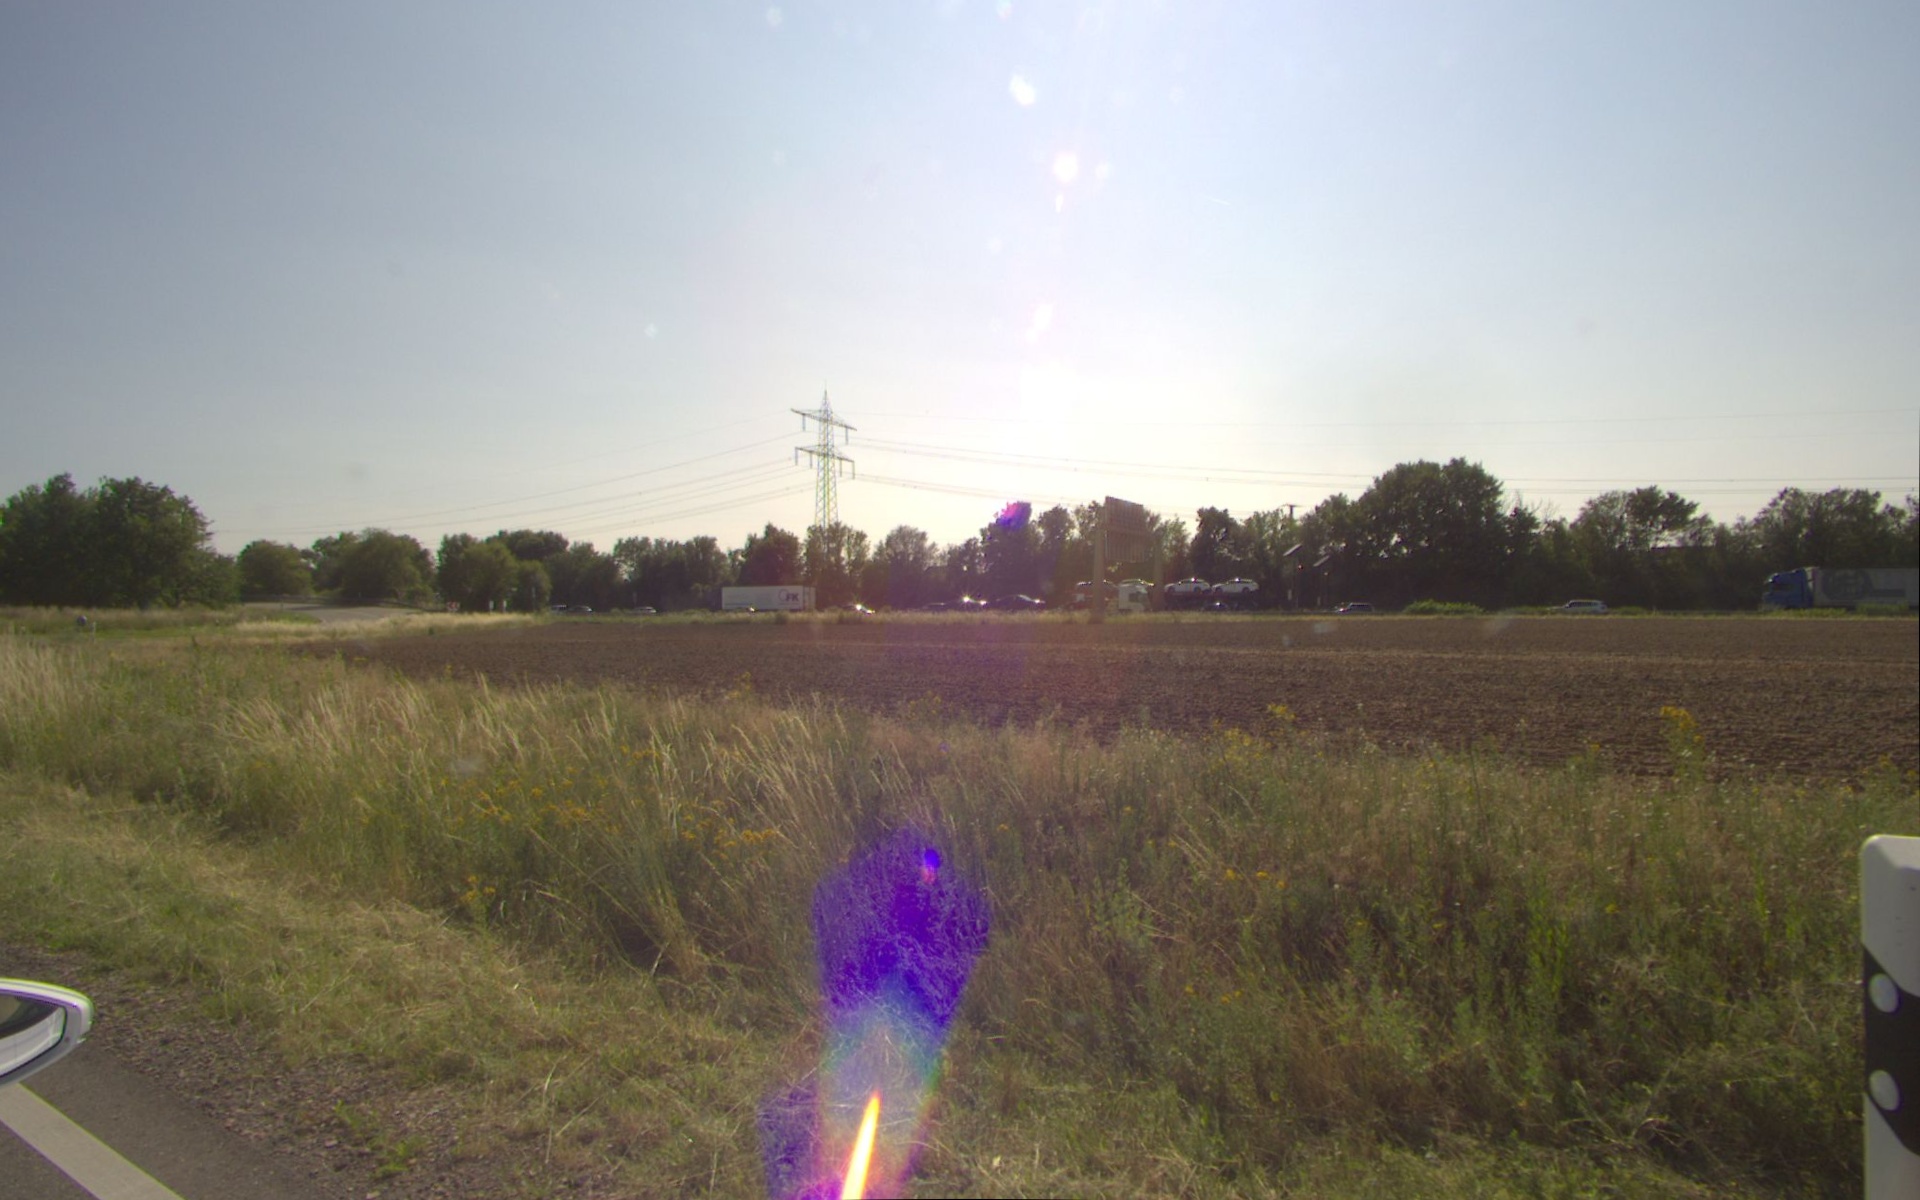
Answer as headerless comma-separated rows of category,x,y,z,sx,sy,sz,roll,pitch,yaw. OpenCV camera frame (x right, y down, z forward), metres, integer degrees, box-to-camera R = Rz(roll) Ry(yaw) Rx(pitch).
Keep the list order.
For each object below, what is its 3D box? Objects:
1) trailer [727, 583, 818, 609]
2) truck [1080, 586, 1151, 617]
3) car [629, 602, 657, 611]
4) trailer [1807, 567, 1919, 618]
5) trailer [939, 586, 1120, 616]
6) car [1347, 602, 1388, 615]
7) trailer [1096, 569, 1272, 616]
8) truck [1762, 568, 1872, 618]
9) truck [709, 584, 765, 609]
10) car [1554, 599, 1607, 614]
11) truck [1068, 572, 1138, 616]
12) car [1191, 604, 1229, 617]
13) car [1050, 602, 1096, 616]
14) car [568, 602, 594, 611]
trailer,-24.273,-0.488,129.179,12.266,3.311,3.280,0,1,29
truck,13.314,0.091,85.721,5.450,2.565,2.509,0,1,29
car,-41.057,0.810,129.744,3.525,1.166,1.394,0,-1,28
trailer,71.964,-0.547,74.386,13.431,3.783,3.066,0,0,32
trailer,5.953,0.088,89.843,16.823,2.565,2.509,0,1,29
car,35.611,0.741,87.532,3.133,1.166,1.393,0,-1,30
trailer,22.639,-0.667,102.132,17.292,4.512,3.417,0,1,28
truck,66.441,-0.511,77.823,5.998,3.783,3.066,0,0,32
truck,-29.407,-0.448,132.056,6.872,3.311,3.280,0,1,29
car,49.254,0.497,79.497,3.528,1.166,1.393,0,-1,31
truck,15.193,-0.605,106.162,6.602,4.512,3.417,0,1,28
car,23.337,0.939,93.417,3.133,1.166,1.393,0,-1,30
car,11.385,0.892,101.110,4.183,1.403,1.848,0,-1,30
car,-51.265,0.854,135.381,3.525,1.166,1.394,0,-1,28
